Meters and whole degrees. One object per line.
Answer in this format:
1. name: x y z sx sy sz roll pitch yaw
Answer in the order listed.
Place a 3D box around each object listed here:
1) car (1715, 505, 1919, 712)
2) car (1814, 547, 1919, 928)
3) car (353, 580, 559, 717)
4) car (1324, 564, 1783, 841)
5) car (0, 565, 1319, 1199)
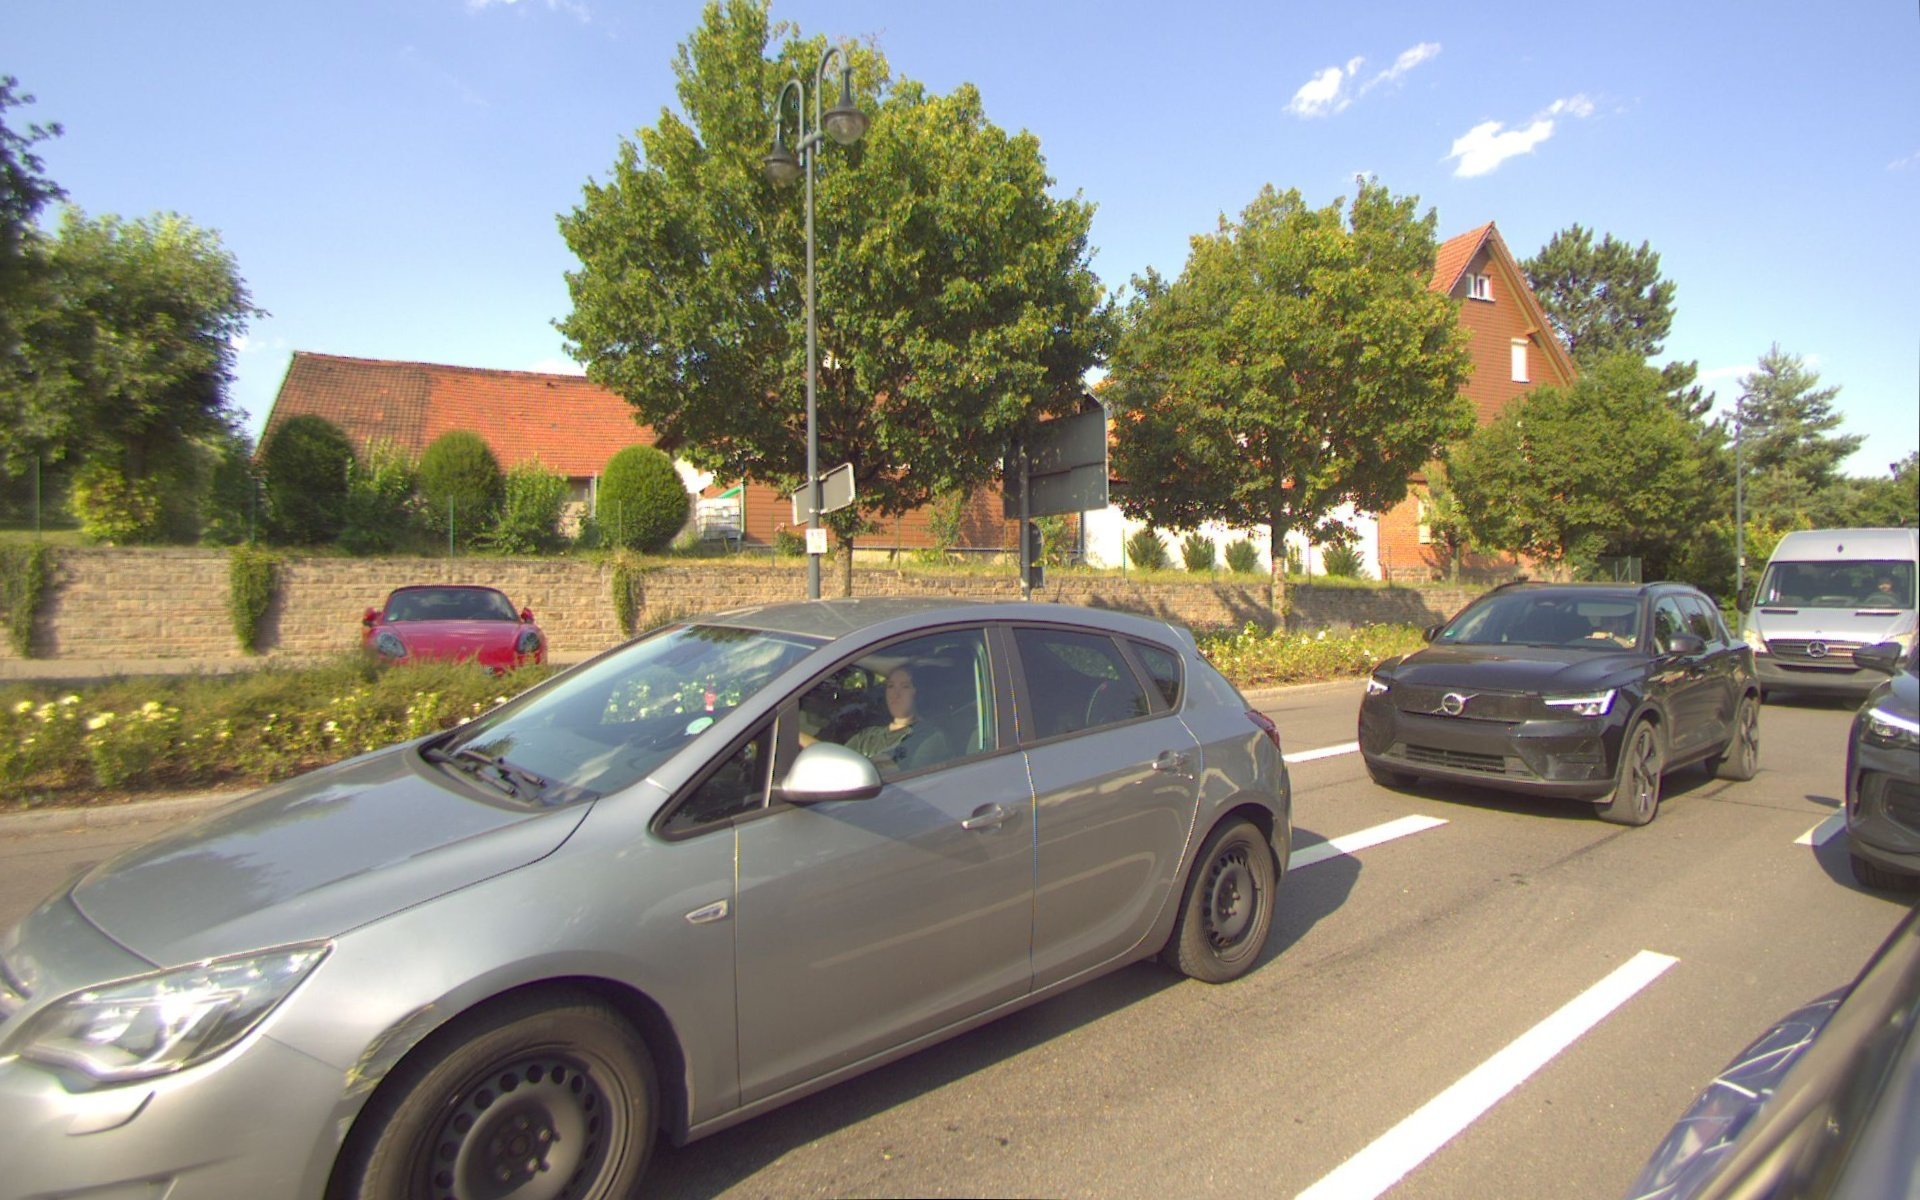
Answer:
1. car: 13.748 0.089 15.350 6.082 2.579 2.369 0 0 -40
2. car: 6.376 0.601 5.516 4.646 1.677 1.893 0 0 -40
3. car: -5.831 0.442 11.719 1.816 1.288 4.005 0 0 -28
4. car: 4.812 0.586 7.983 4.054 1.629 1.885 0 0 -40
5. car: -0.618 0.664 3.481 4.095 1.460 1.746 0 0 -41
